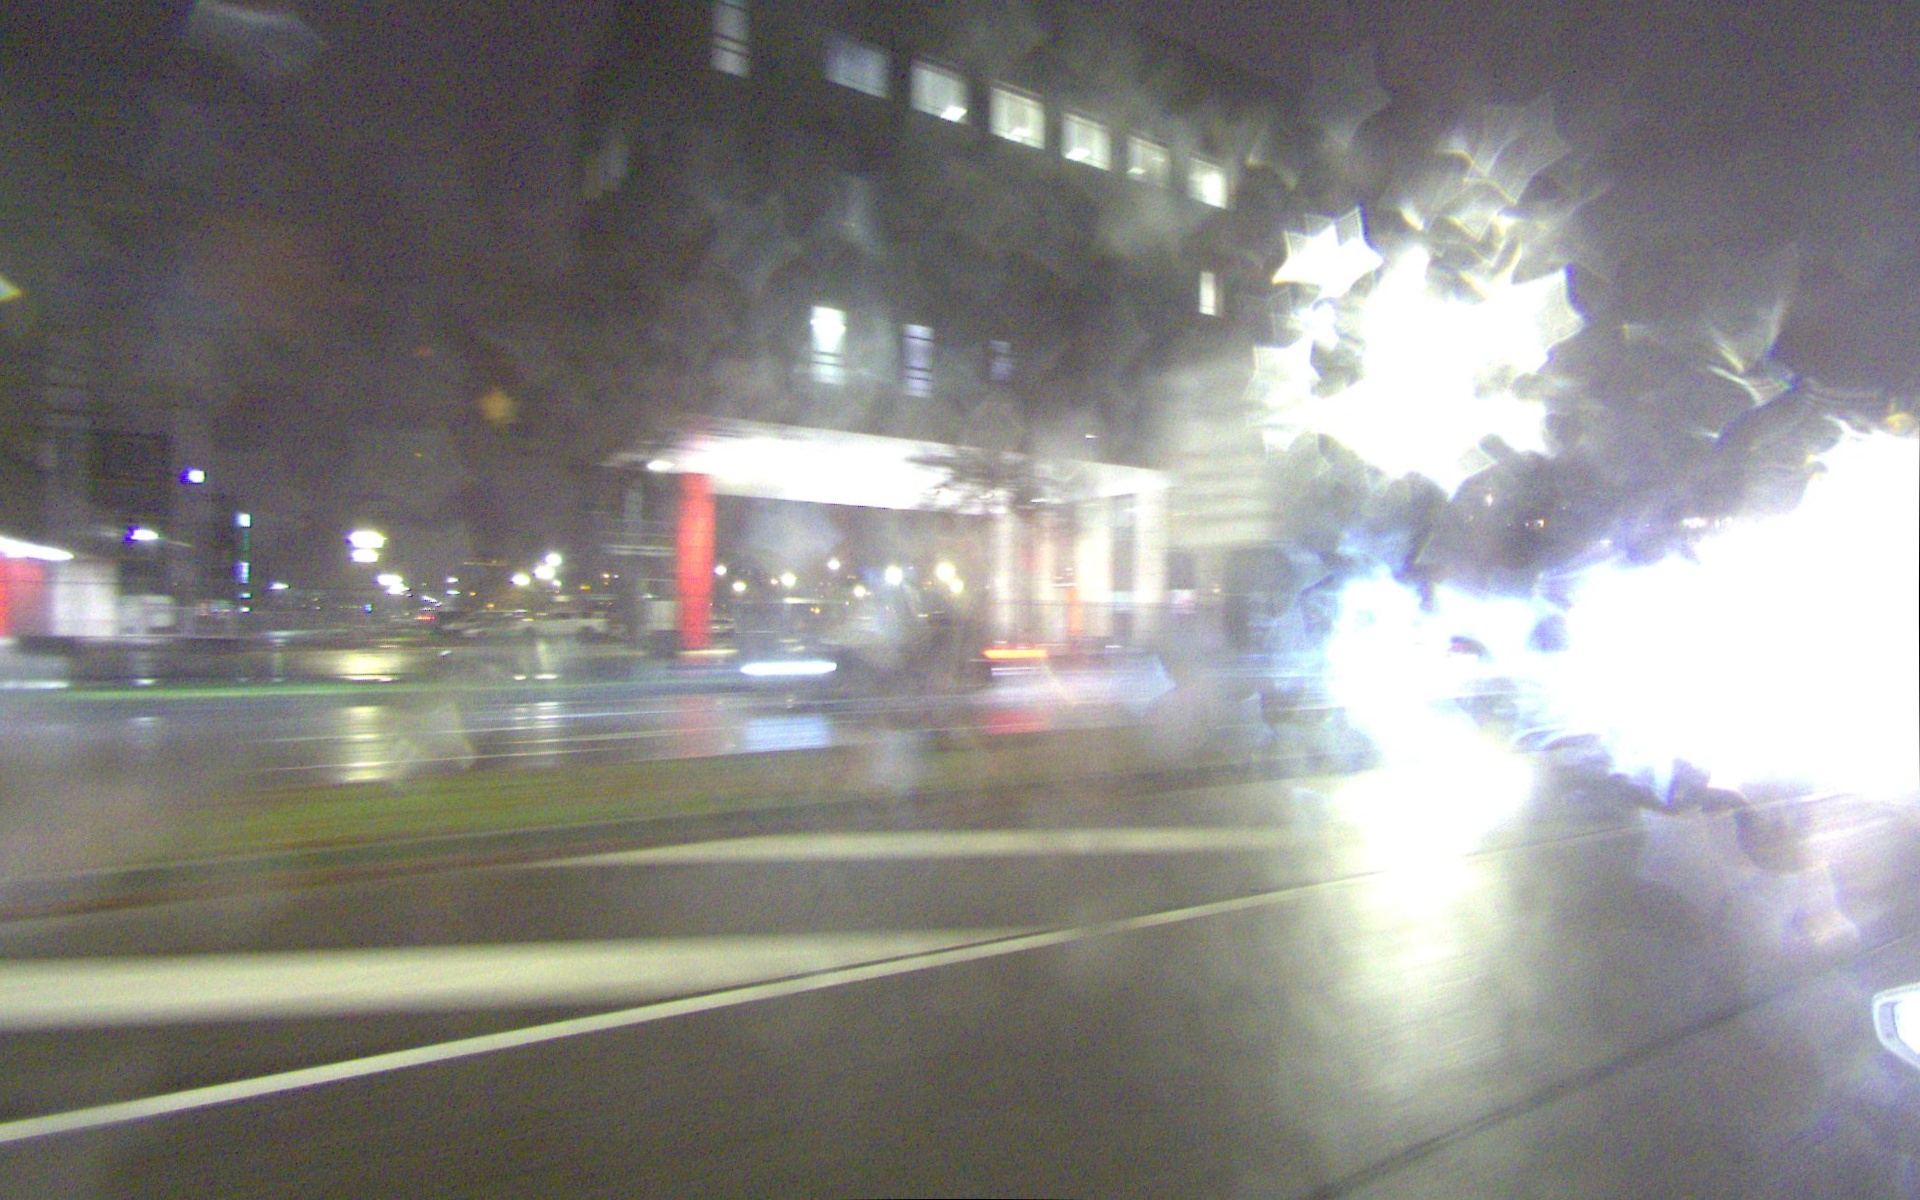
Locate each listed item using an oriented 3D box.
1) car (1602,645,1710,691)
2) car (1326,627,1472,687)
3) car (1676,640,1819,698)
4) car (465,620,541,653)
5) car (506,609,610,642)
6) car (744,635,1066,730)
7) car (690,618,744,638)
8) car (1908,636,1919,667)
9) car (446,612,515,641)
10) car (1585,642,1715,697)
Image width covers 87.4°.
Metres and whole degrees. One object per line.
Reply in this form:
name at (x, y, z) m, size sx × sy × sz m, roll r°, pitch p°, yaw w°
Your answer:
car at (27.239, 2.617, 39.281) m, size 4.314 × 1.614 × 1.834 m, roll 1°, pitch 0°, yaw -31°
car at (13.210, 1.674, 30.201) m, size 4.314 × 1.614 × 1.834 m, roll 1°, pitch 0°, yaw -31°
car at (23.119, 1.956, 29.461) m, size 4.314 × 1.506 × 1.834 m, roll 1°, pitch 0°, yaw -31°
car at (-27.588, 2.191, 60.647) m, size 3.956 × 1.840 × 1.983 m, roll 1°, pitch 0°, yaw -32°
car at (-23.348, 1.490, 58.375) m, size 5.367 × 1.840 × 1.982 m, roll 1°, pitch 0°, yaw -32°
car at (-0.853, 1.350, 17.678) m, size 5.499 × 1.376 × 1.832 m, roll 1°, pitch 0°, yaw -33°
car at (-20.206, 2.331, 83.656) m, size 3.957 × 1.595 × 1.892 m, roll 1°, pitch 0°, yaw -33°
car at (56.194, 2.965, 57.317) m, size 4.498 × 1.706 × 2.013 m, roll 1°, pitch 0°, yaw -32°
car at (-32.020, 1.740, 67.114) m, size 3.956 × 1.840 × 1.983 m, roll 1°, pitch 0°, yaw -32°
car at (22.447, 2.209, 32.643) m, size 4.314 × 1.614 × 1.834 m, roll 1°, pitch 0°, yaw -31°
